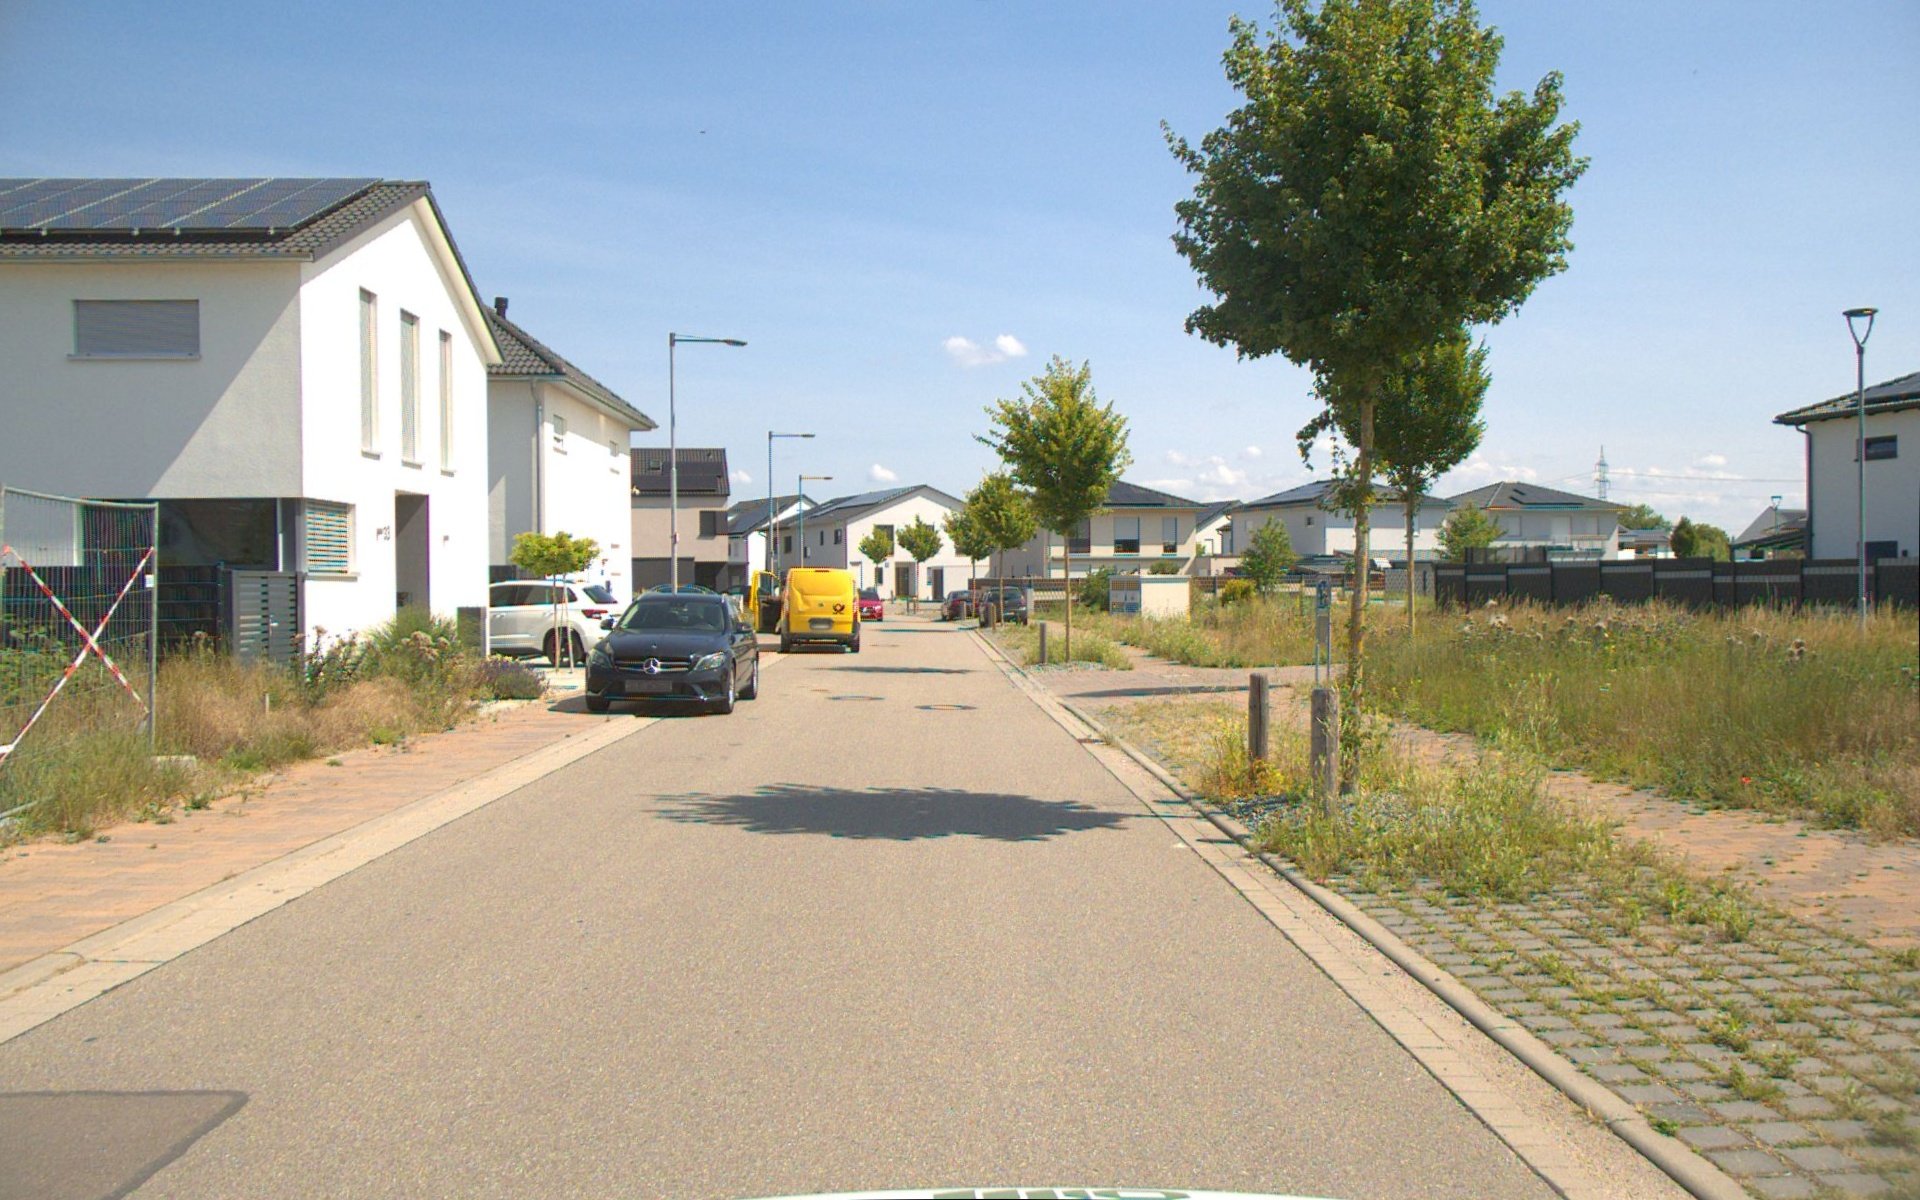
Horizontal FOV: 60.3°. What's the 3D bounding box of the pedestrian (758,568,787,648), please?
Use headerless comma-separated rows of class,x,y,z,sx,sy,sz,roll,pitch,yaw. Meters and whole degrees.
pedestrian,-4.833,0.204,42.709,0.638,2.049,1.123,-1,-1,-2

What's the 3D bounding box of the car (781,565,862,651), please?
car,-3.478,0.198,41.422,1.904,2.016,4.212,-1,0,-5

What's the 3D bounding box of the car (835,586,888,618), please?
car,-4.684,0.101,78.024,1.957,1.456,4.689,-1,0,-10

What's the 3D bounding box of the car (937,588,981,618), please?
car,-0.063,0.177,80.213,1.597,1.346,3.826,0,-2,-8

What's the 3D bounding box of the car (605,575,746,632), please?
car,-8.959,0.115,51.998,4.095,1.531,1.807,3,-1,-18

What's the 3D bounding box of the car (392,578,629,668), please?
car,-8.538,0.410,31.631,3.983,1.609,1.785,1,1,4

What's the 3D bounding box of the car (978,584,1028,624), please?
car,1.573,0.174,61.644,1.606,1.427,3.808,-1,-1,-3

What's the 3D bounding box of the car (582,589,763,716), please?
car,-3.625,0.608,21.529,1.710,1.429,4.158,2,0,-2
